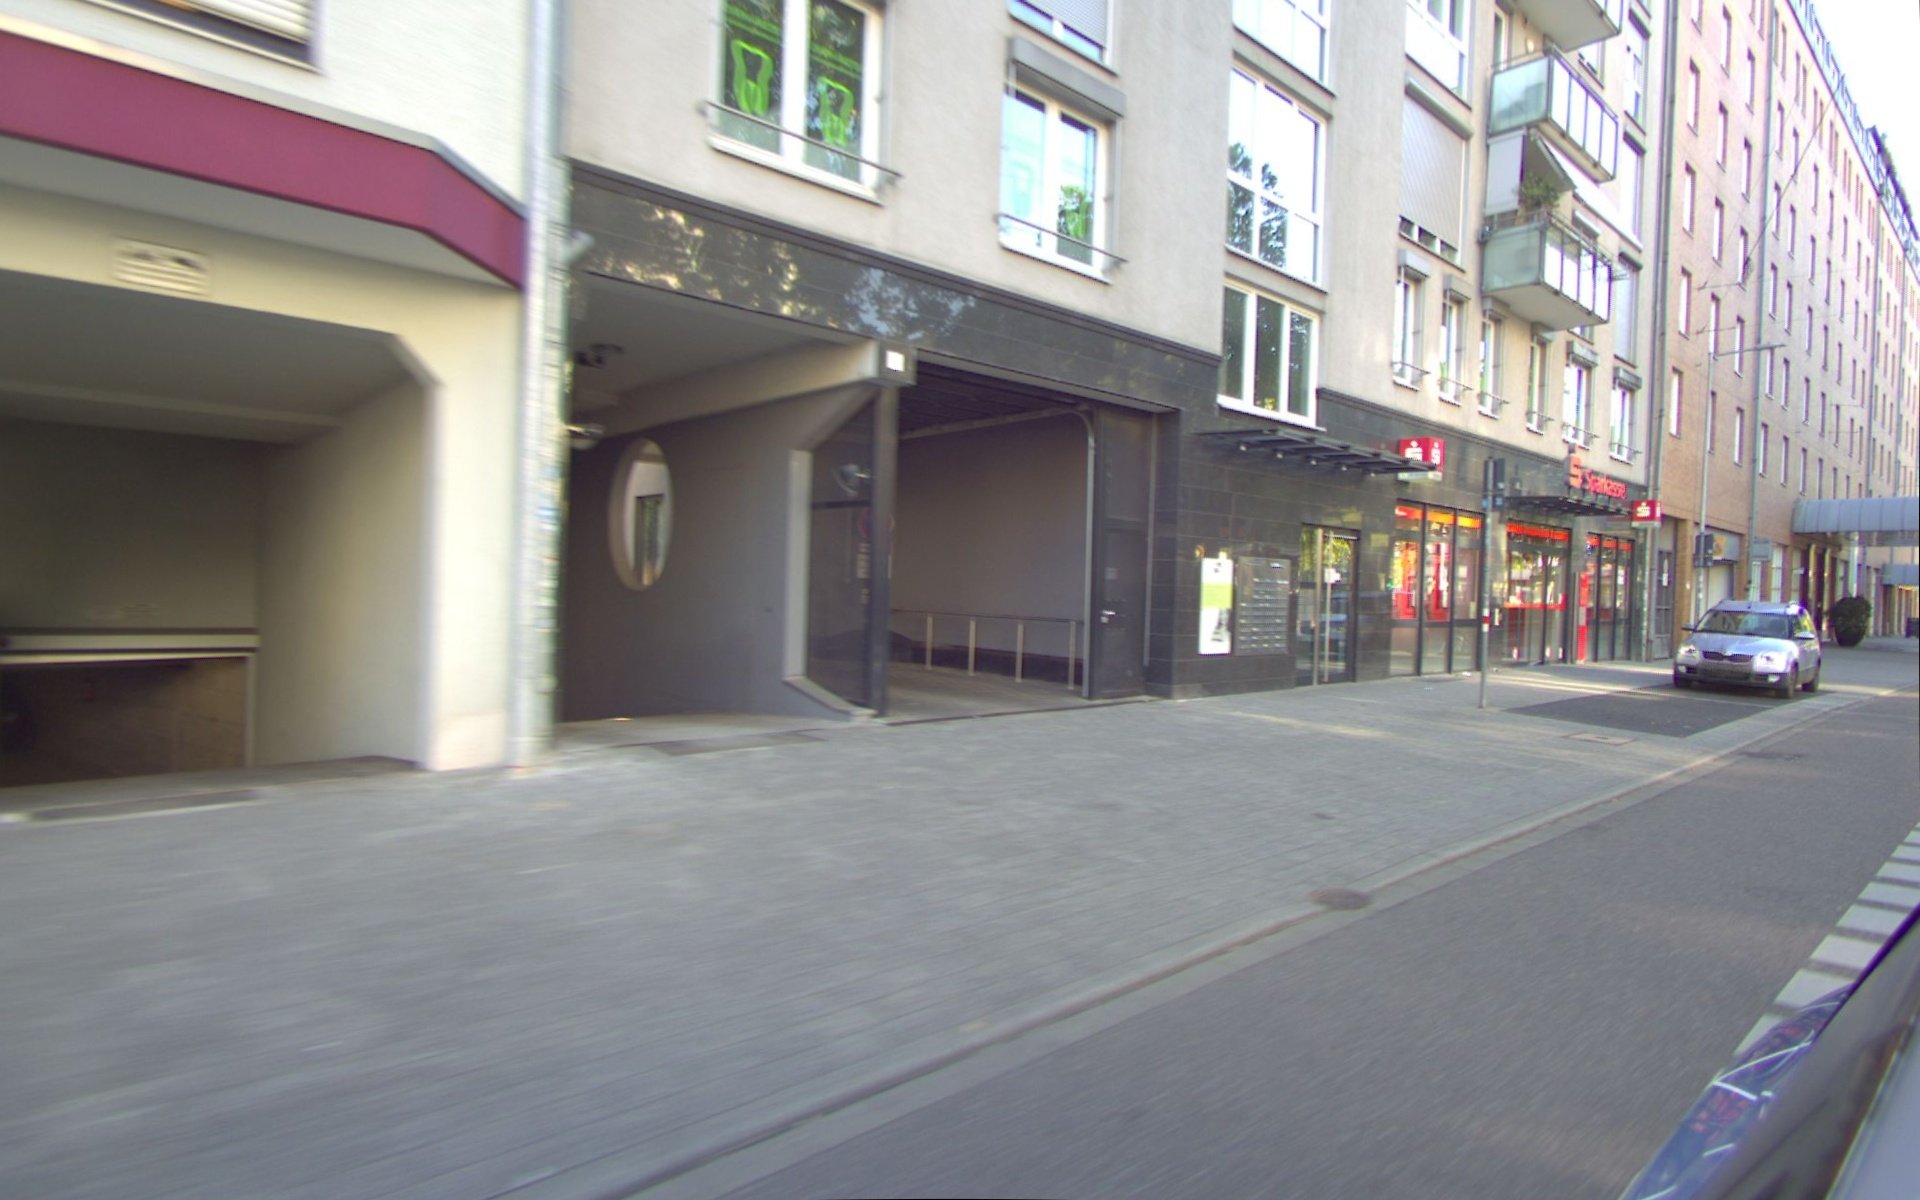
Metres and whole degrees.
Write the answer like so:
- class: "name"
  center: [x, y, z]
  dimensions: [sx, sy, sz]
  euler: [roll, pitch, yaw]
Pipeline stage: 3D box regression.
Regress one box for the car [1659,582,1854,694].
- class: "car"
  center: [14.214, 0.597, 17.976]
  dimensions: [4.208, 1.642, 1.837]
  euler: [1, 4, -40]
